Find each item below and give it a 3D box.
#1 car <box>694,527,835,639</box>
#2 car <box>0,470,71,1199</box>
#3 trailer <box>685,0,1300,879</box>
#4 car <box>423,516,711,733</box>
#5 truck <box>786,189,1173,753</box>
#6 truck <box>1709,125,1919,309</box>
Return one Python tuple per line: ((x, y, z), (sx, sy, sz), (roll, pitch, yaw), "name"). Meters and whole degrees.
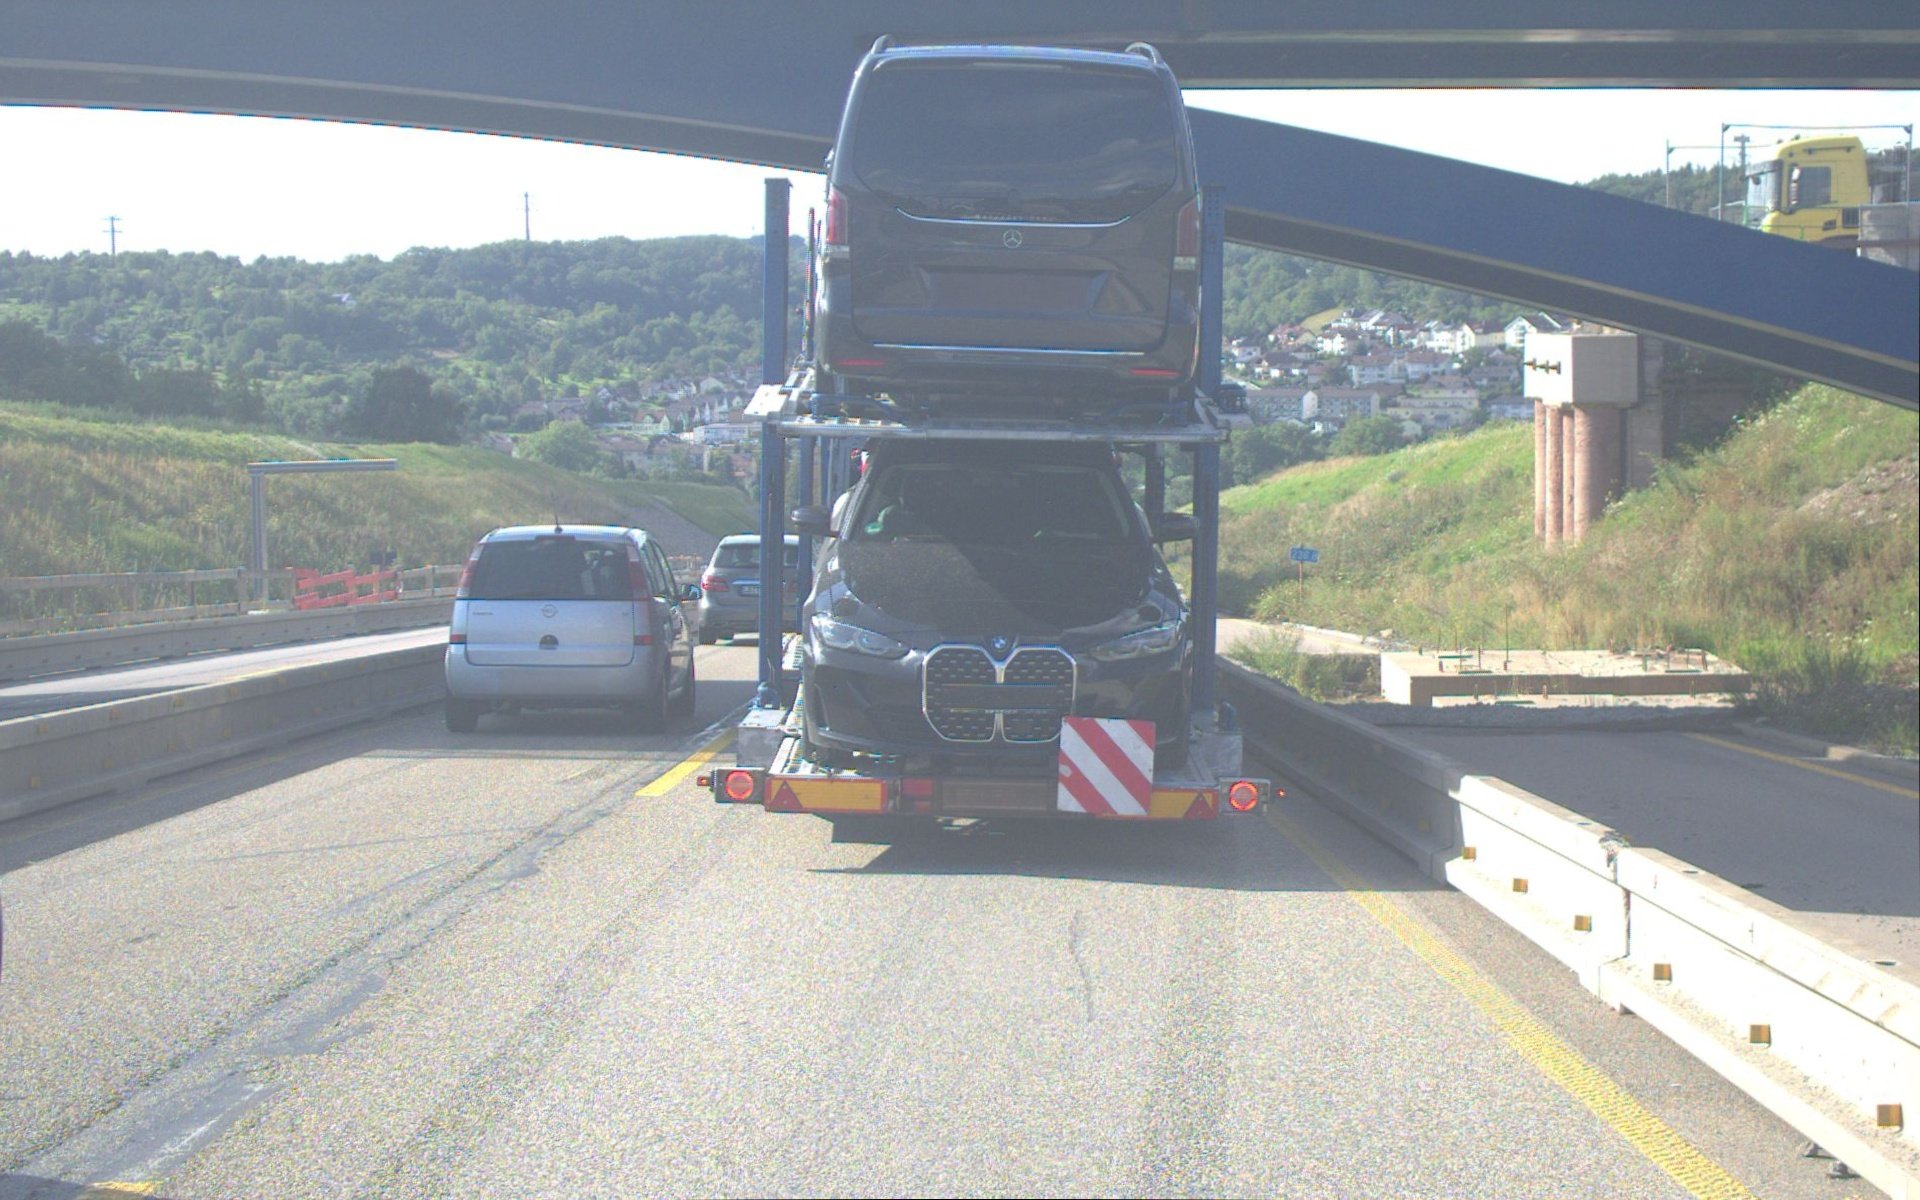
((-2.760, -0.277, 49.351), (1.796, 1.525, 4.295), (0, 1, 0), "car")
((-3.084, 0.564, 5.783), (1.993, 1.619, 4.750), (0, 1, -1), "car")
((0.130, -0.877, 20.916), (2.708, 4.015, 11.420), (0, 1, 0), "trailer")
((-3.074, 0.129, 27.770), (1.796, 1.591, 4.743), (0, 1, 0), "car")
((0.156, -0.950, 26.902), (2.678, 3.908, 6.027), (0, 1, 0), "truck")
((19.222, -7.246, 65.447), (9.263, 3.216, 2.960), (0, 1, 1), "truck")
